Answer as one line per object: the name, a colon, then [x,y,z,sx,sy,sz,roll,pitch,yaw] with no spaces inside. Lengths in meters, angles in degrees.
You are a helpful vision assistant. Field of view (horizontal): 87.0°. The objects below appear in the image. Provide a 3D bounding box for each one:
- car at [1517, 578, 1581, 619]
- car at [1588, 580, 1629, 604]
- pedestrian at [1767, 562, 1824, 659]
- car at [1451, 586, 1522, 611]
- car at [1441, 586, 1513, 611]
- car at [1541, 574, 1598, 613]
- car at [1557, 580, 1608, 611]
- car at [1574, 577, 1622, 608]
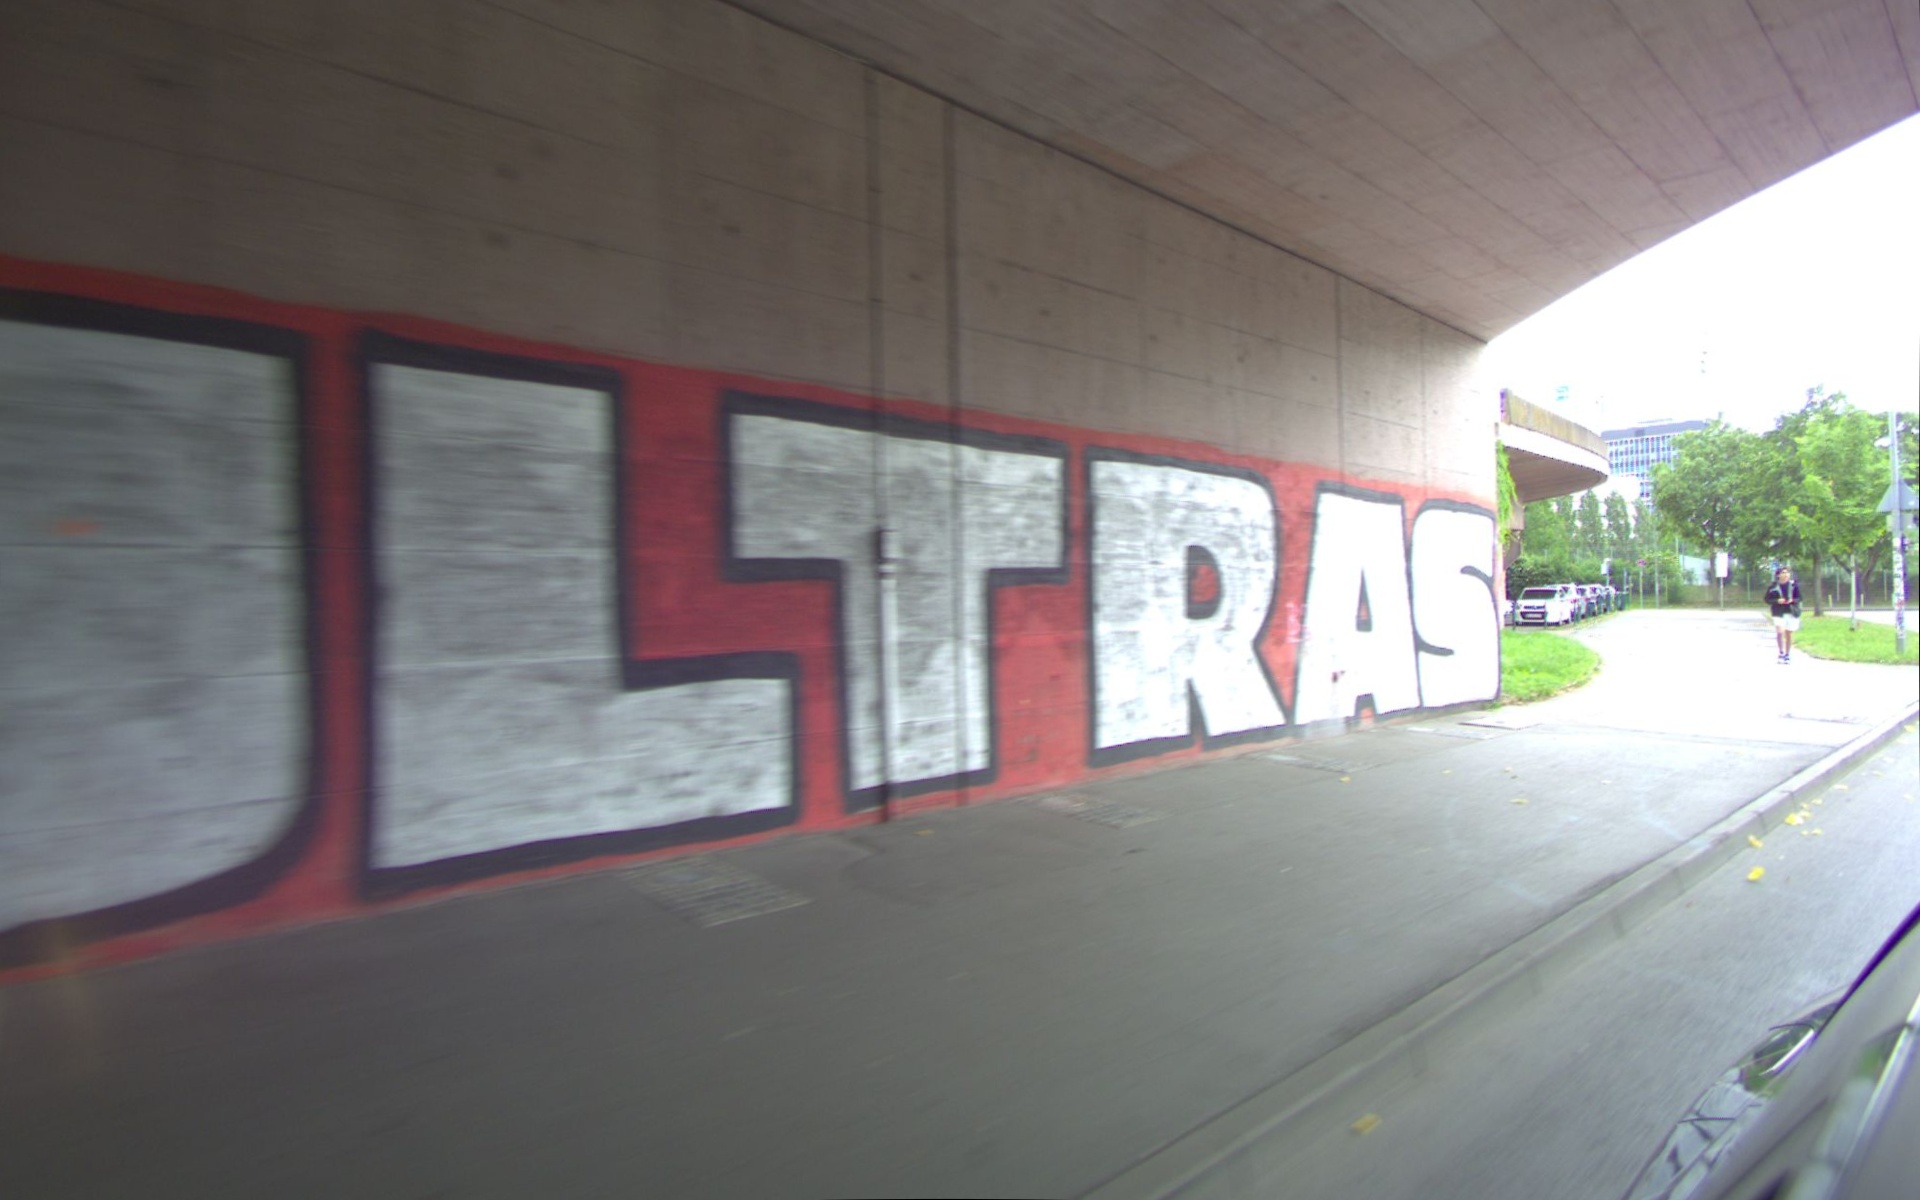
car: [22.345,-0.084,38.339,1.602,1.463,3.428,-1,1,39]
car: [35.530,-0.455,55.393,1.618,1.254,4.006,-1,0,36]
pedestrian: [16.927,0.184,20.520,0.818,1.903,1.164,2,2,39]
car: [30.668,-0.099,58.992,3.460,1.401,1.403,0,1,42]
car: [29.048,-0.092,56.901,3.302,1.321,1.465,0,1,43]
car: [25.703,-0.271,42.628,1.606,1.550,3.865,-3,-1,37]
car: [28.791,-0.222,46.771,1.618,1.332,3.726,-4,-1,37]
car: [32.187,-0.387,51.006,1.617,1.391,4.122,-7,-3,36]
